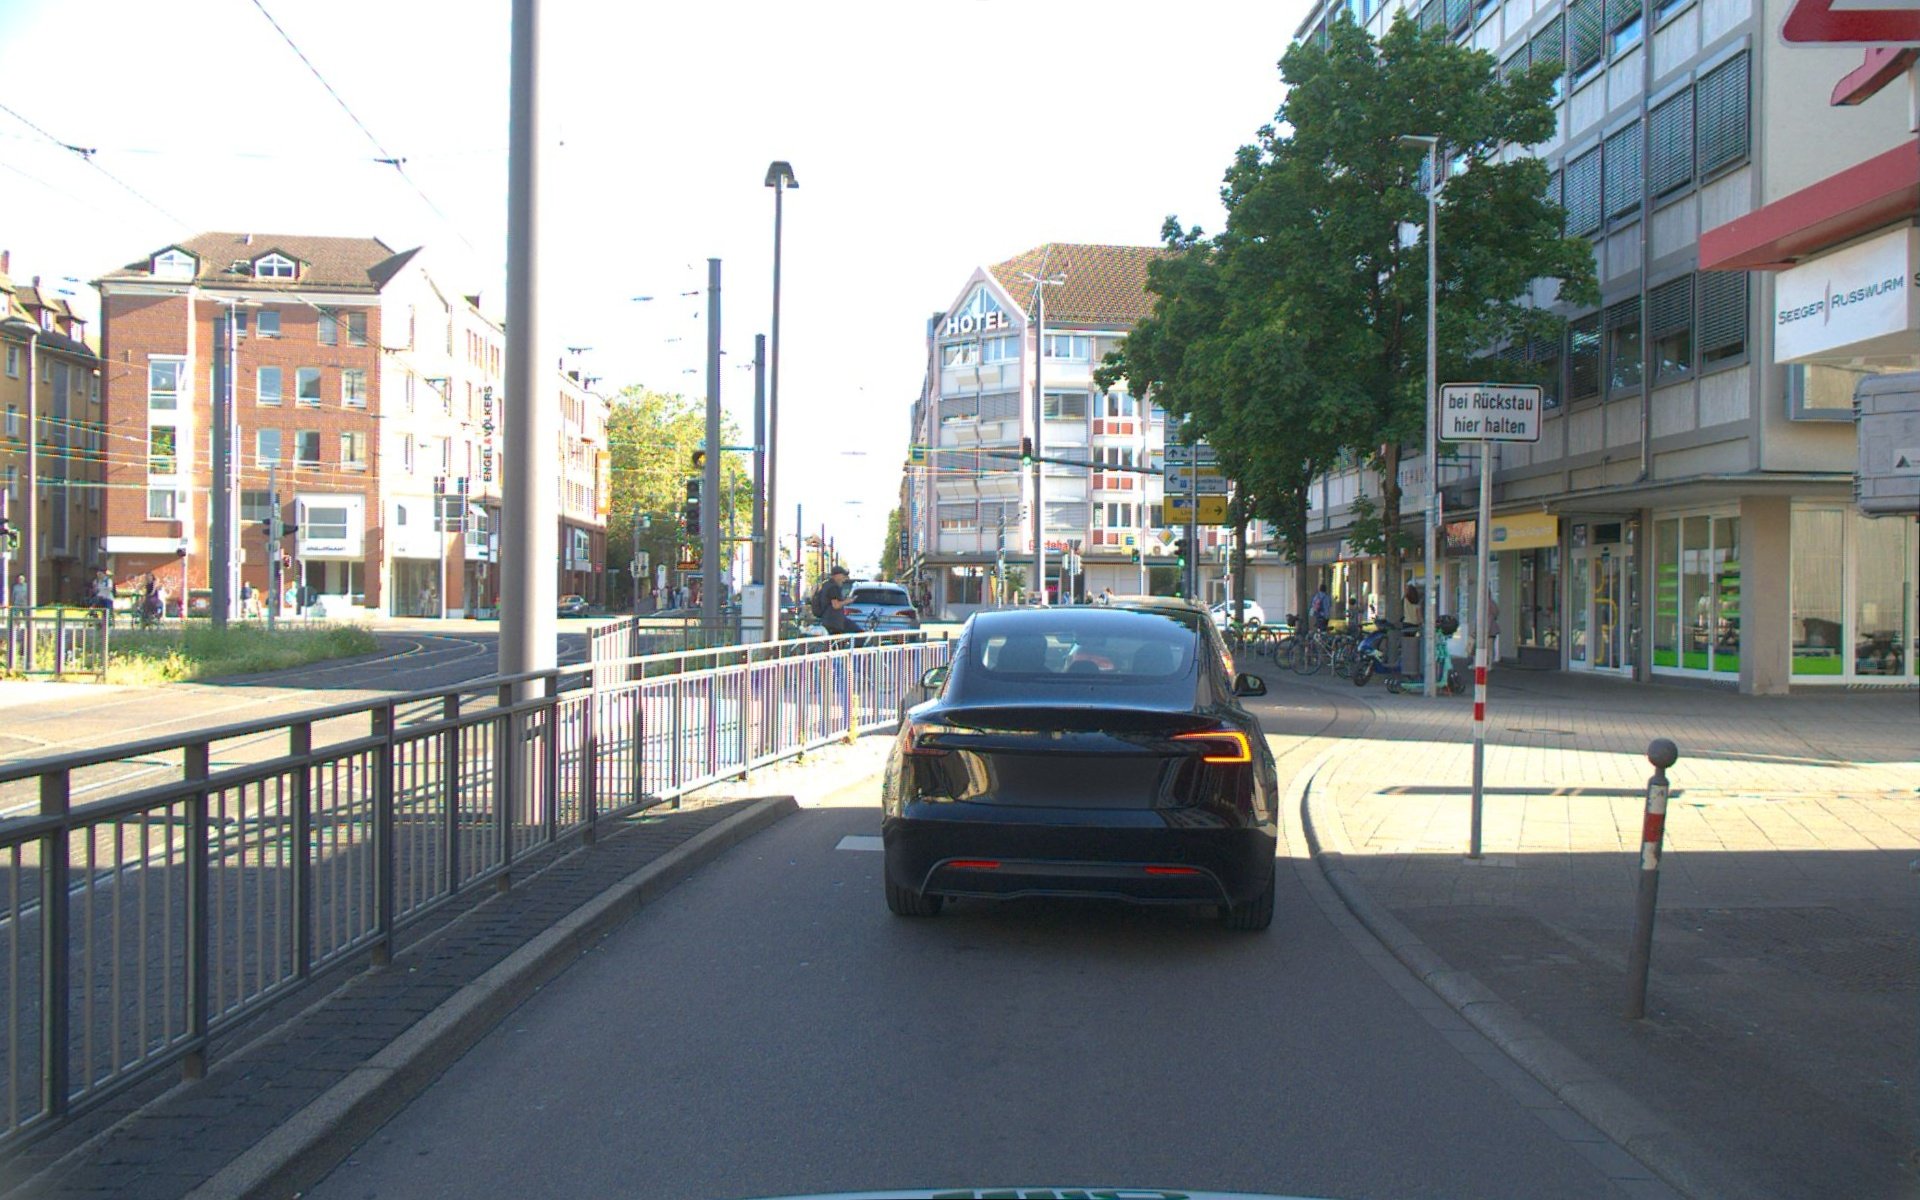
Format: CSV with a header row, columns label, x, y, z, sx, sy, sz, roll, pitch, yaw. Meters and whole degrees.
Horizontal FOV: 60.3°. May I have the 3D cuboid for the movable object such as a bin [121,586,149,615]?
label,x,y,z,sx,sy,sz,roll,pitch,yaw
movable object such as a bin,-42.829,0.012,85.888,0.978,1.462,1.093,1,0,-10

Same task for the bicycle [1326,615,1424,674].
label,x,y,z,sx,sy,sz,roll,pitch,yaw
bicycle,7.891,0.845,31.437,1.817,1.074,0.398,-1,0,-12

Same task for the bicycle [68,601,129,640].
label,x,y,z,sx,sy,sz,roll,pitch,yaw
bicycle,-23.429,0.550,45.010,0.636,1.031,1.885,1,0,1

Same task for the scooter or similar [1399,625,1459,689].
label,x,y,z,sx,sy,sz,roll,pitch,yaw
scooter or similar,7.716,0.936,27.233,0.936,1.057,0.160,0,0,2

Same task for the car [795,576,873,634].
label,x,y,z,sx,sy,sz,roll,pitch,yaw
car,-3.780,0.148,49.180,1.547,1.646,3.766,1,0,-16

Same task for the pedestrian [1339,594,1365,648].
label,x,y,z,sx,sy,sz,roll,pitch,yaw
pedestrian,10.580,0.563,44.697,0.631,1.447,0.621,1,-1,10

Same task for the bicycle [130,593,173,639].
label,x,y,z,sx,sy,sz,roll,pitch,yaw
bicycle,-23.485,0.454,48.048,0.563,1.313,2.022,1,0,-10

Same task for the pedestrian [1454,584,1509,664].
label,x,y,z,sx,sy,sz,roll,pitch,yaw
pedestrian,10.734,0.490,34.048,0.826,1.630,0.880,1,-1,-1

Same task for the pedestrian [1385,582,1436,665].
label,x,y,z,sx,sy,sz,roll,pitch,yaw
pedestrian,9.686,0.499,35.611,0.826,1.737,0.880,1,-1,-1

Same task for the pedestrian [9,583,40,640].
label,x,y,z,sx,sy,sz,roll,pitch,yaw
pedestrian,-28.792,0.337,50.913,0.613,1.717,0.703,1,1,-13

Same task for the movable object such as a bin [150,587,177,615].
label,x,y,z,sx,sy,sz,roll,pitch,yaw
movable object such as a bin,-41.518,0.042,86.212,0.978,1.462,1.093,1,0,-10

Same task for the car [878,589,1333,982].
label,x,y,z,sx,sy,sz,roll,pitch,yaw
car,0.662,0.709,8.449,1.753,1.476,3.941,1,1,3

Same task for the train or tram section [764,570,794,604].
label,x,y,z,sx,sy,sz,roll,pitch,yaw
train or tram section,-19.988,-1.403,183.332,2.674,3.604,10.080,1,0,-3

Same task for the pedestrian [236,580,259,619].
label,x,y,z,sx,sy,sz,roll,pitch,yaw
pedestrian,-32.474,-0.023,75.392,0.682,1.740,0.929,1,-1,-7

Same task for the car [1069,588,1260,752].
label,x,y,z,sx,sy,sz,roll,pitch,yaw
car,2.032,0.624,17.450,1.727,1.469,4.531,1,0,4

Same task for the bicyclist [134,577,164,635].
label,x,y,z,sx,sy,sz,roll,pitch,yaw
bicyclist,-23.428,0.173,47.805,0.578,1.678,0.804,1,-1,-13

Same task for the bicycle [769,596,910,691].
label,x,y,z,sx,sy,sz,roll,pitch,yaw
bicycle,-1.605,0.579,22.216,1.802,1.233,0.635,1,-1,-32

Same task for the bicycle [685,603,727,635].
label,x,y,z,sx,sy,sz,roll,pitch,yaw
bicycle,-10.247,0.745,66.572,0.624,1.245,2.008,1,-1,-44

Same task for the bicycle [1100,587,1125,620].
label,x,y,z,sx,sy,sz,roll,pitch,yaw
bicycle,6.973,0.161,75.893,0.573,1.489,1.679,0,0,-16

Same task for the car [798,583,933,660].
label,x,y,z,sx,sy,sz,roll,pitch,yaw
car,-2.194,0.475,37.563,1.818,1.663,3.455,1,0,-27

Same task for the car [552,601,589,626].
label,x,y,z,sx,sy,sz,roll,pitch,yaw
car,-24.438,0.850,103.909,1.782,1.479,3.972,-1,0,-6

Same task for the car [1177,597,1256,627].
label,x,y,z,sx,sy,sz,roll,pitch,yaw
car,13.437,0.639,86.609,3.766,1.457,1.801,1,-2,-6

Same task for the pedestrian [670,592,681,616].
label,x,y,z,sx,sy,sz,roll,pitch,yaw
pedestrian,-18.725,0.275,108.795,0.574,1.557,0.634,1,-1,-18

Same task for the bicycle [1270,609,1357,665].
label,x,y,z,sx,sy,sz,roll,pitch,yaw
bicycle,7.561,0.788,35.418,1.774,1.172,0.435,0,0,-5

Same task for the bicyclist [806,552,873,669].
label,x,y,z,sx,sy,sz,roll,pitch,yaw
bicyclist,-1.616,0.141,22.209,0.674,1.550,0.628,1,-1,-32

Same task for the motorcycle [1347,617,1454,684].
label,x,y,z,sx,sy,sz,roll,pitch,yaw
motorcycle,7.789,0.894,29.288,1.751,1.149,0.504,1,-1,-3

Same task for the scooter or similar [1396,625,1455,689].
label,x,y,z,sx,sy,sz,roll,pitch,yaw
scooter or similar,7.720,0.947,27.434,0.943,1.045,0.160,0,0,2

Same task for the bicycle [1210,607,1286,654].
label,x,y,z,sx,sy,sz,roll,pitch,yaw
bicycle,7.388,0.776,42.507,1.851,1.177,0.480,-1,-1,0

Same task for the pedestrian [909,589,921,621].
label,x,y,z,sx,sy,sz,roll,pitch,yaw
pedestrian,-2.585,0.261,94.752,0.614,1.813,0.917,1,-1,-2

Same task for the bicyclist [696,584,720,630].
label,x,y,z,sx,sy,sz,roll,pitch,yaw
bicyclist,-10.126,0.281,66.455,0.609,1.803,0.817,1,-1,-44

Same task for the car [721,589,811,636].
label,x,y,z,sx,sy,sz,roll,pitch,yaw
car,-6.749,0.426,57.309,1.710,1.578,3.432,1,0,-35

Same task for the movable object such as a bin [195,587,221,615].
label,x,y,z,sx,sy,sz,roll,pitch,yaw
movable object such as a bin,-39.278,0.049,86.414,0.978,1.462,1.093,1,0,-10

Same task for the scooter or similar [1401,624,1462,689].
label,x,y,z,sx,sy,sz,roll,pitch,yaw
scooter or similar,7.711,0.923,27.035,0.943,1.061,0.160,0,0,2

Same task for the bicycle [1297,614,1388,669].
label,x,y,z,sx,sy,sz,roll,pitch,yaw
bicycle,7.729,0.828,33.469,1.730,1.075,0.458,1,-1,4

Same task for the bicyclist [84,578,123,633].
label,x,y,z,sx,sy,sz,roll,pitch,yaw
bicyclist,-23.377,0.152,45.164,0.650,1.479,0.730,1,-1,1

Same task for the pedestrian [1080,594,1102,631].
label,x,y,z,sx,sy,sz,roll,pitch,yaw
pedestrian,5.987,0.569,75.623,0.766,1.604,0.864,1,1,-16

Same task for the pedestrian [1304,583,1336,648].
label,x,y,z,sx,sy,sz,roll,pitch,yaw
pedestrian,9.832,0.422,45.164,0.825,1.751,0.880,1,-1,12
